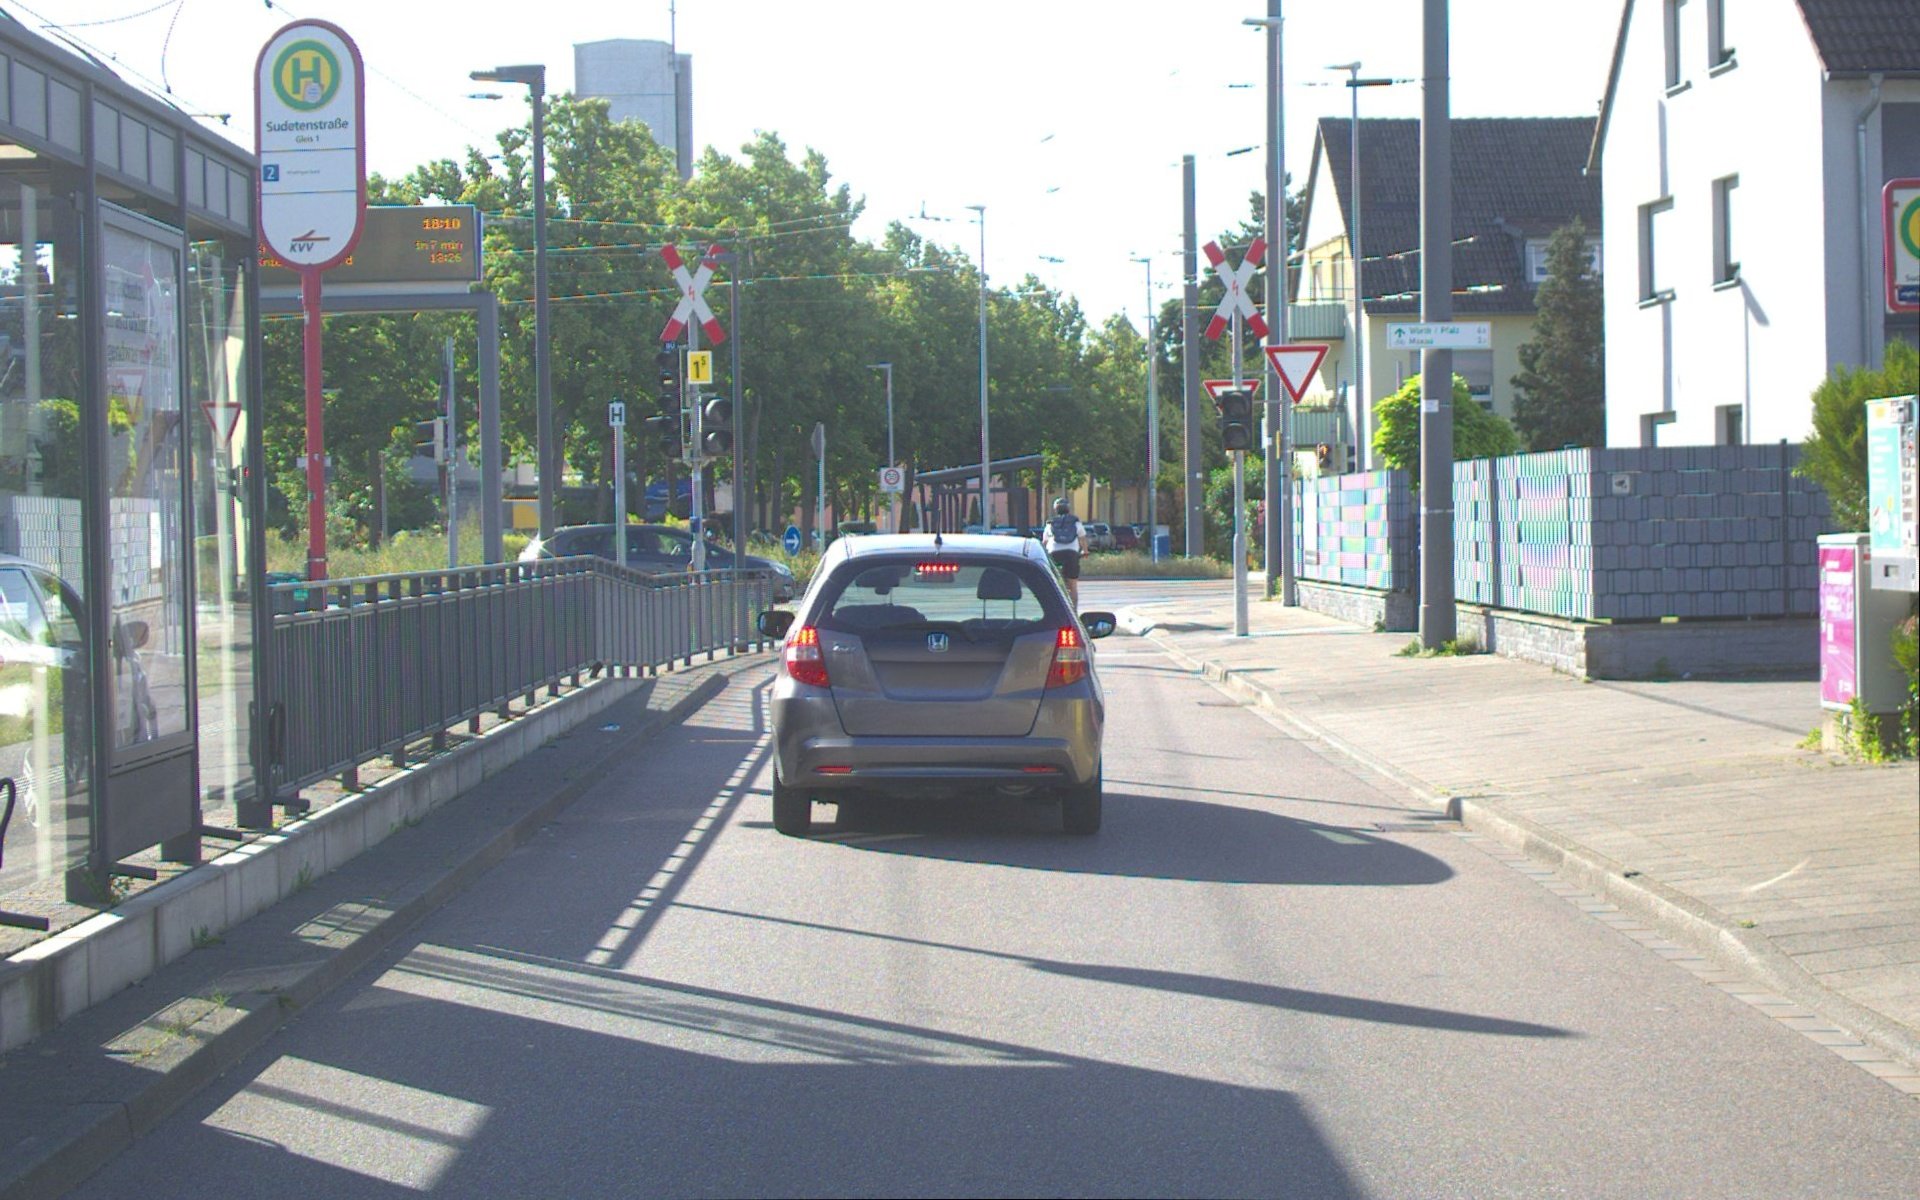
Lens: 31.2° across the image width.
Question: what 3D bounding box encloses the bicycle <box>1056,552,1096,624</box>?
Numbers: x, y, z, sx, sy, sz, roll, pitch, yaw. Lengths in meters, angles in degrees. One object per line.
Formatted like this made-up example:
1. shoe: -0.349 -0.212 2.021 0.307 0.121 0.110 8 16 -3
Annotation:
1. bicycle: 1.579 -0.168 46.952 0.475 0.958 1.657 1 1 0

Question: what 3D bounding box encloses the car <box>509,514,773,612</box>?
1. car: -5.214 -0.601 56.090 3.986 1.524 1.808 1 1 -18

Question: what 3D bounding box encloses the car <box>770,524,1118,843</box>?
1. car: -0.113 0.373 18.431 1.670 1.530 3.487 1 1 -1

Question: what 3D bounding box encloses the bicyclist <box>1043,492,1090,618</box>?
1. bicyclist: 1.447 -0.610 46.870 0.598 1.695 0.683 1 0 0
